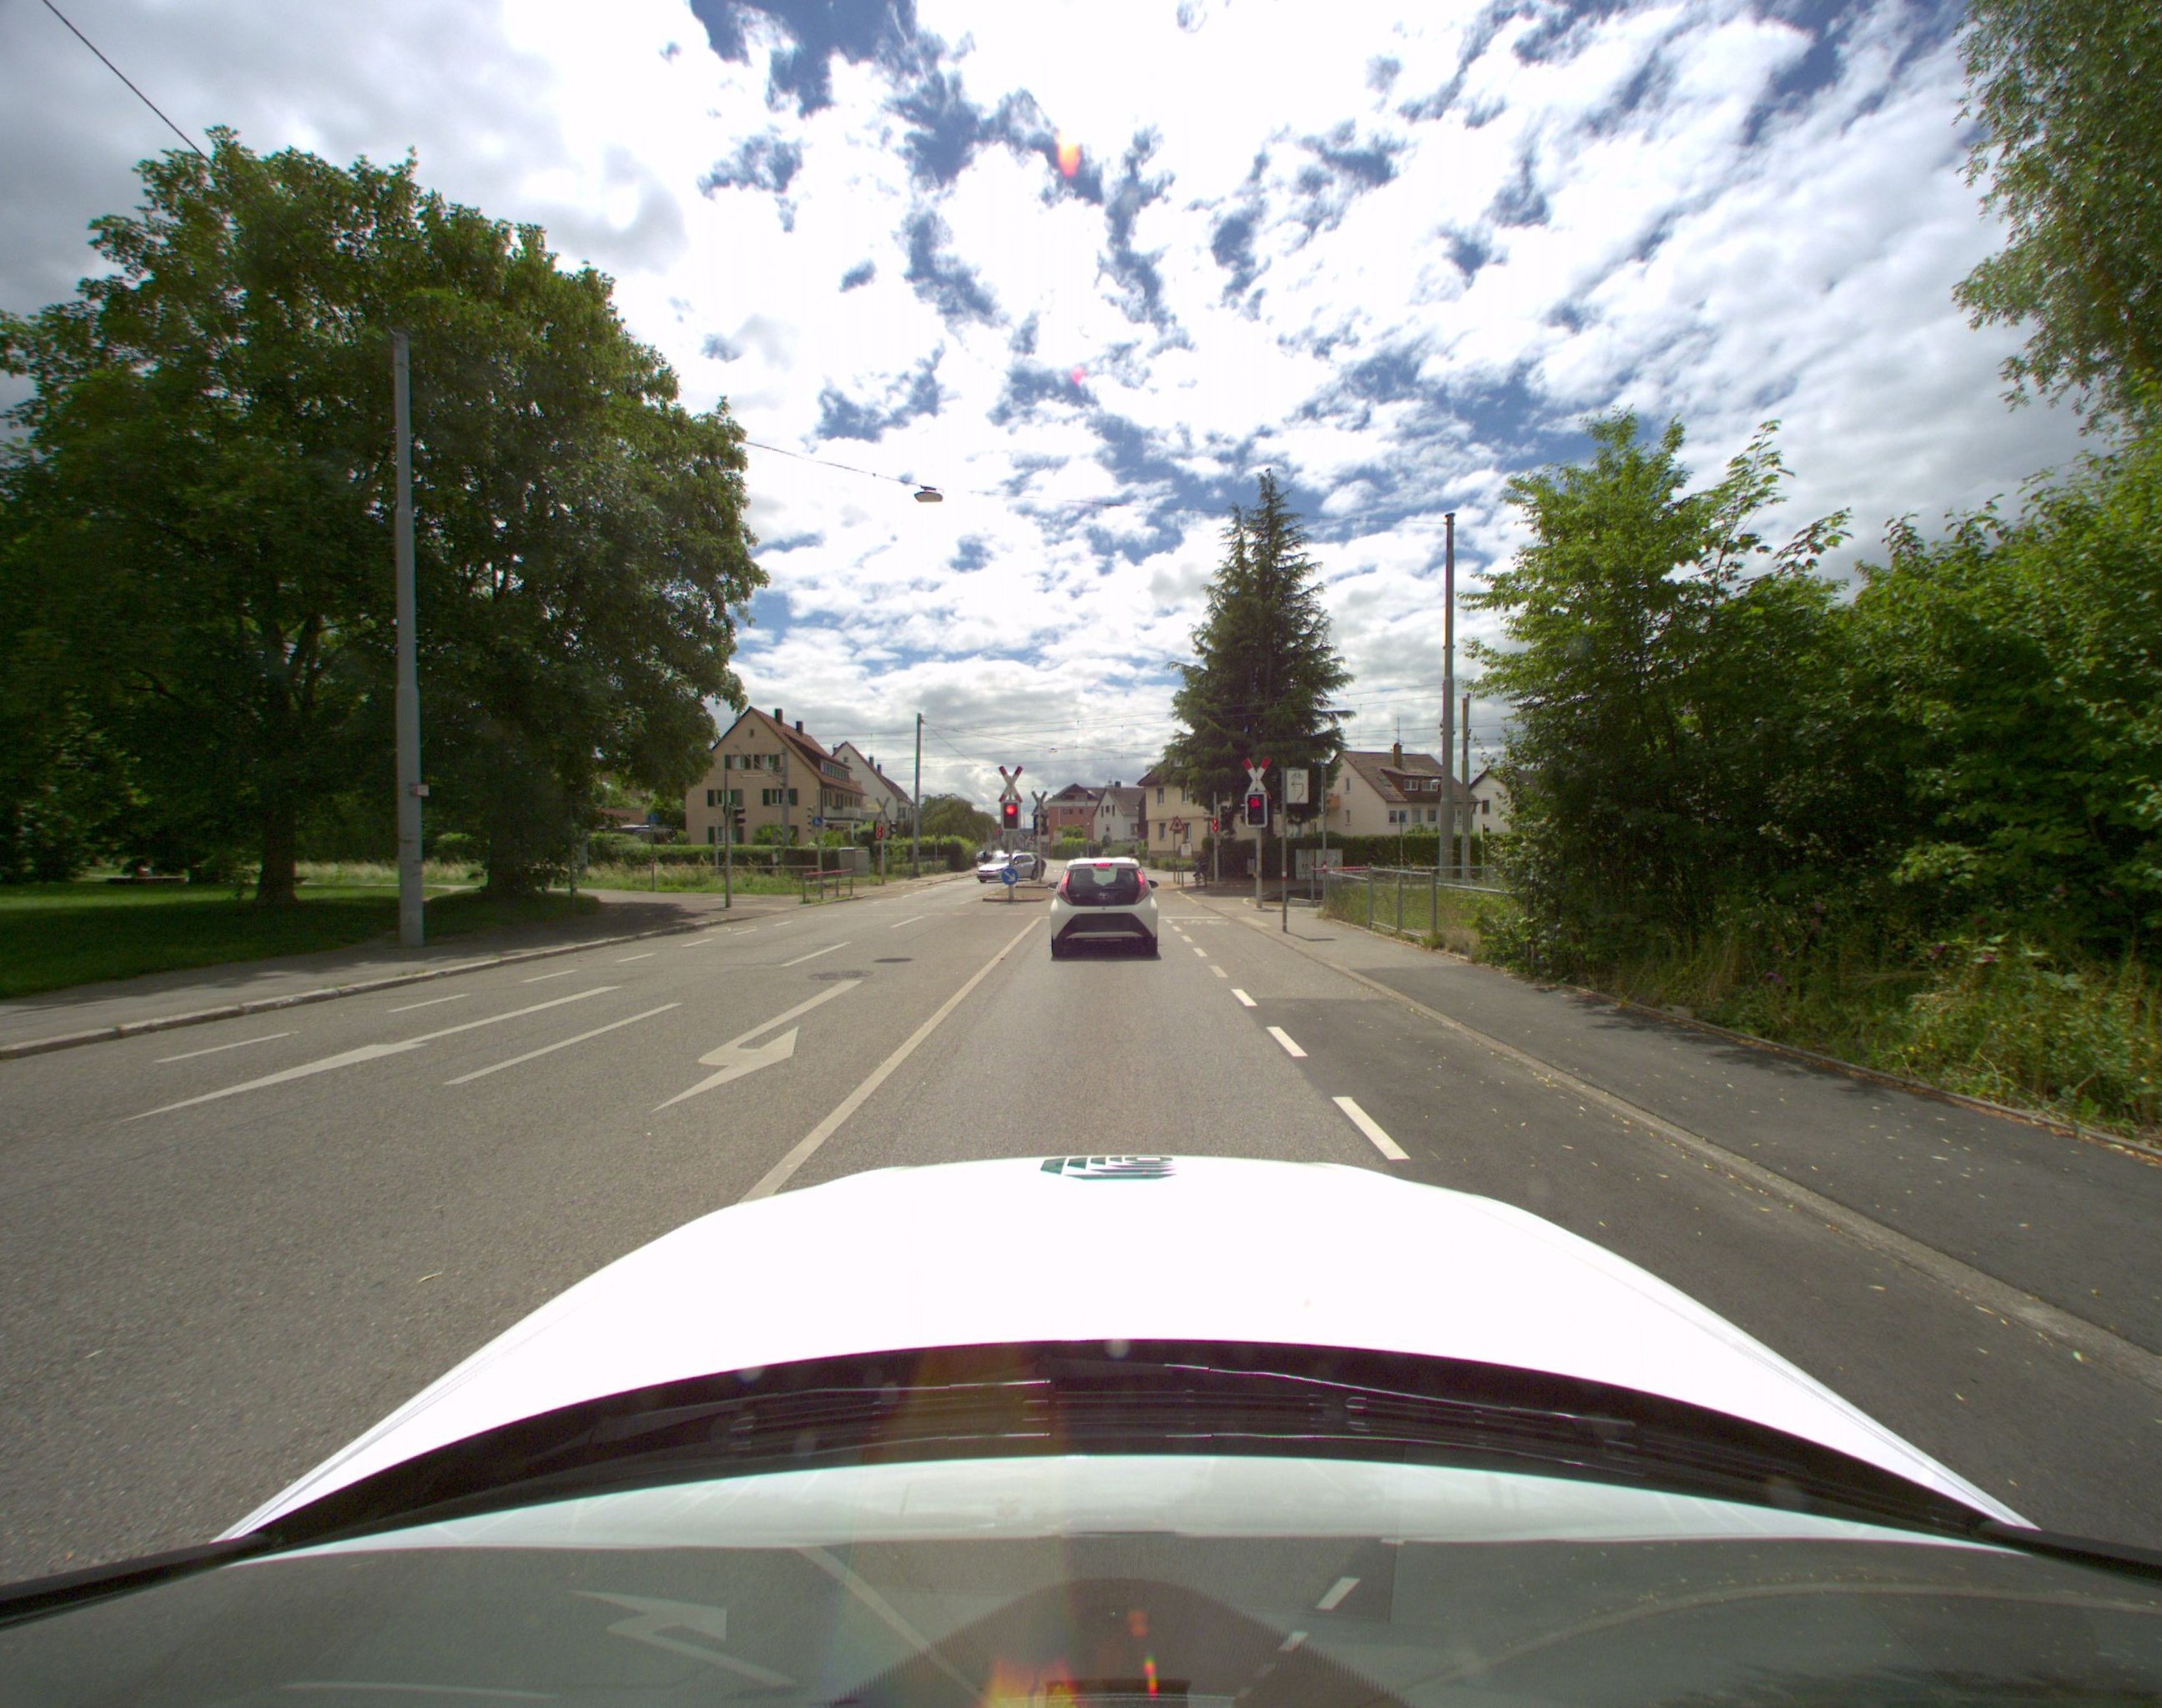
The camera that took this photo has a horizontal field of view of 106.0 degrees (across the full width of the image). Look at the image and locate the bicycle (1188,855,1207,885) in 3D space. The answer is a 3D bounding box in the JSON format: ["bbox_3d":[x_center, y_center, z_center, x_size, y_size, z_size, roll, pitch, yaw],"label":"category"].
[{"bbox_3d":[5.073,0.688,35.500,0.456,1.172,1.477,-4,2,-4],"label":"bicycle"}]

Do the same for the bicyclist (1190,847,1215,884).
[{"bbox_3d":[5.286,0.488,35.478,0.839,1.553,0.755,-4,2,-4],"label":"bicyclist"}]

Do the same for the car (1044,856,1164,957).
[{"bbox_3d":[0.283,0.755,13.559,1.716,1.442,3.706,0,0,-2],"label":"car"}]

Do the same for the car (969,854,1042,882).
[{"bbox_3d":[-4.007,0.708,43.865,1.887,1.441,4.124,0,0,30],"label":"car"}]

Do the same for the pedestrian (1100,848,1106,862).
[{"bbox_3d":[2.608,0.100,95.379,0.723,1.576,0.804,0,0,1],"label":"pedestrian"}]
